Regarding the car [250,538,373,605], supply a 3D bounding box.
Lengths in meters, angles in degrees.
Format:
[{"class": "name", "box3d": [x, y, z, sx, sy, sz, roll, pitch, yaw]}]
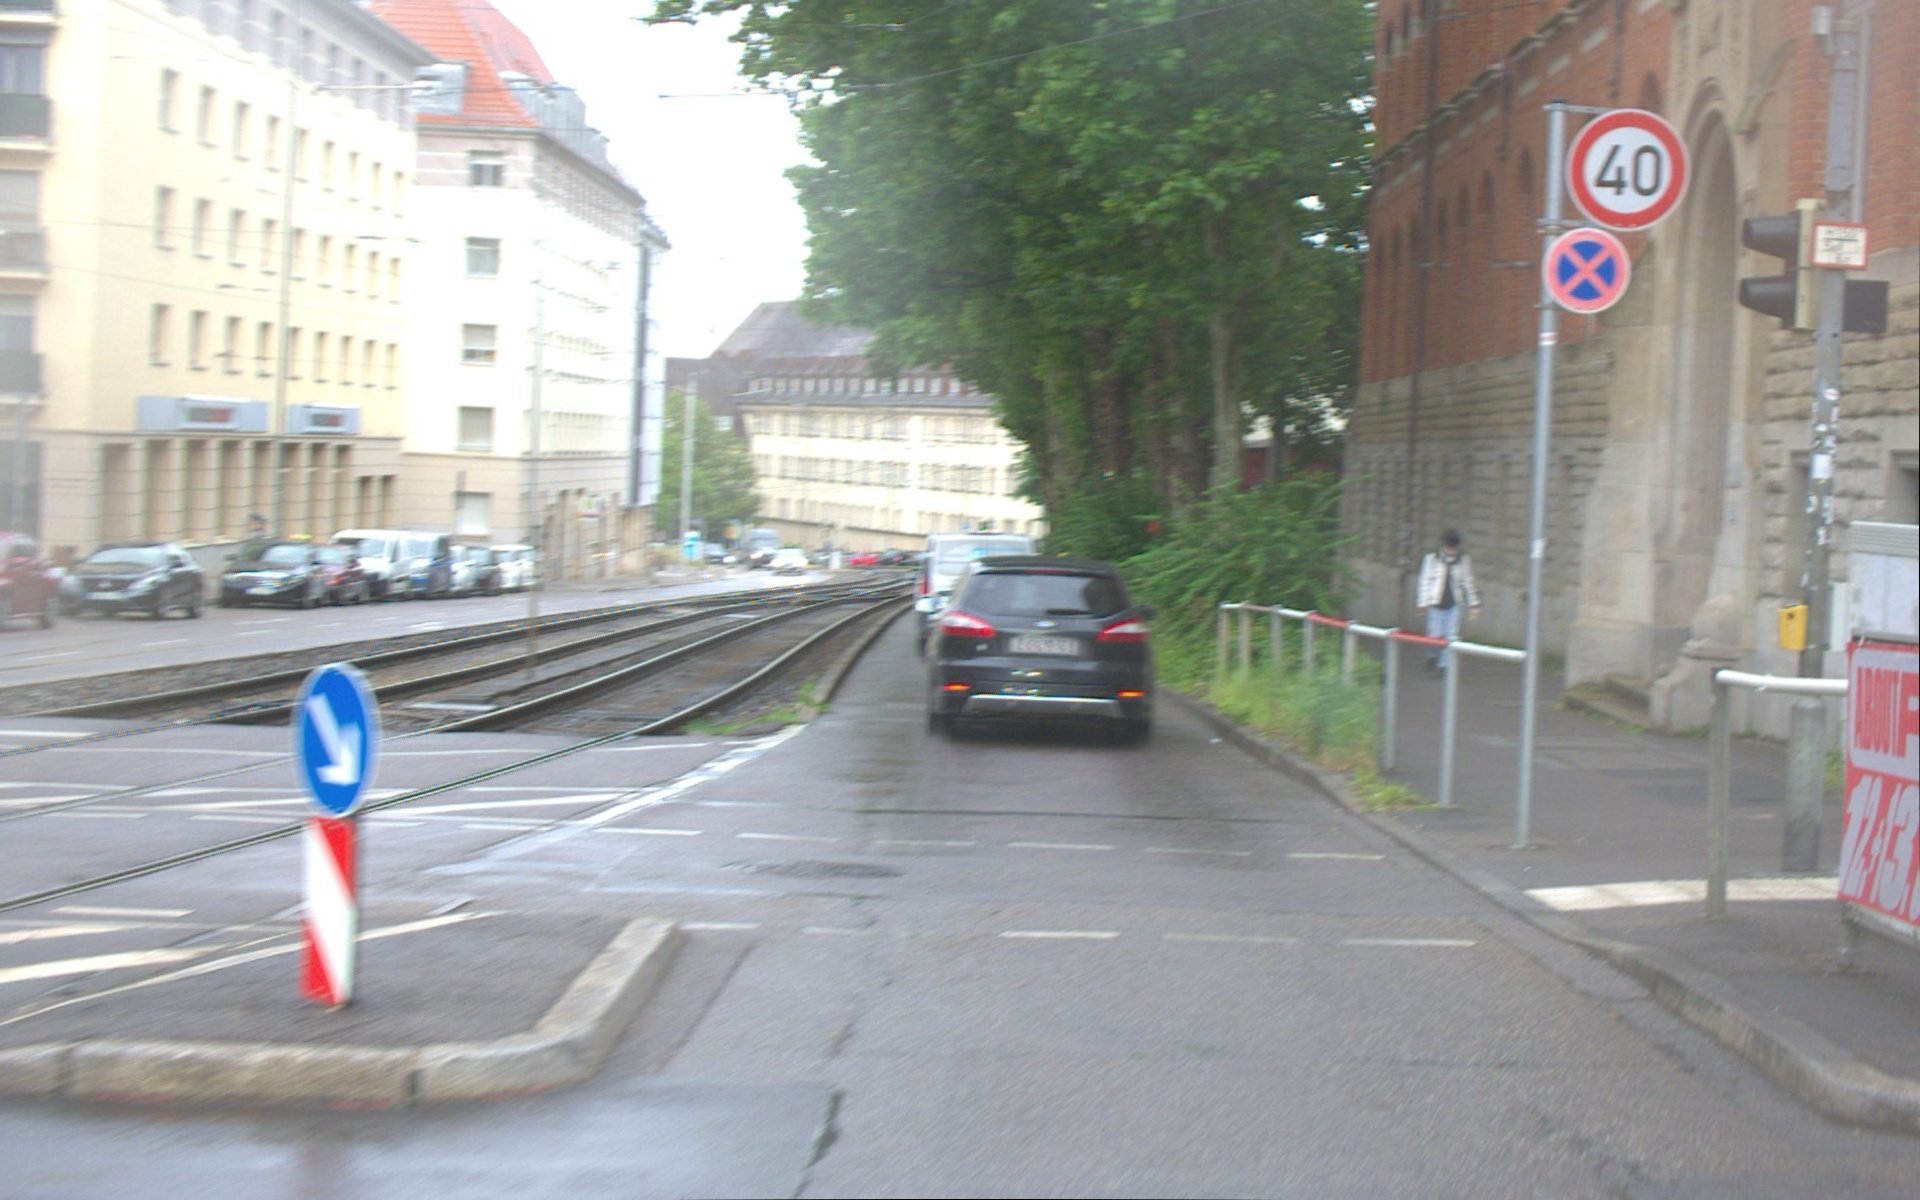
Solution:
[{"class": "car", "box3d": [-15.145, -0.672, 80.493, 1.851, 1.427, 4.832, 3, 1, 1]}]

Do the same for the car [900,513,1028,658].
[{"class": "car", "box3d": [0.023, -0.227, 51.178, 1.740, 2.007, 3.904, 2, 0, -1]}]

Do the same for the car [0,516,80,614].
[{"class": "car", "box3d": [-14.829, -0.553, 52.061, 1.653, 1.446, 4.073, 2, 1, 4]}]

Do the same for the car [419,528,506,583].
[{"class": "car", "box3d": [-14.699, -1.319, 101.750, 1.813, 1.494, 4.582, 3, 1, 0]}]

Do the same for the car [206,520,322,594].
[{"class": "car", "box3d": [-15.061, -0.933, 74.641, 1.851, 1.503, 4.993, 2, 1, -5]}]

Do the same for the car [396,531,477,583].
[{"class": "car", "box3d": [-14.737, -1.216, 96.932, 1.691, 1.434, 4.049, 1, 1, 0]}]

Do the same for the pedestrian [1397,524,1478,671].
[{"class": "pedestrian", "box3d": [5.576, -0.028, 40.190, 0.823, 1.673, 0.860, 2, 0, 3]}]

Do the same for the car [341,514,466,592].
[{"class": "car", "box3d": [-14.842, -1.259, 91.958, 1.994, 1.898, 5.459, 4, 1, 4]}]

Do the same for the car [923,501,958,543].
[{"class": "car", "box3d": [-1.214, -4.891, 216.803, 1.993, 2.443, 5.998, 2, 0, 1]}]

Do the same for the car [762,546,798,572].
[{"class": "car", "box3d": [-10.233, -2.354, 196.091, 1.712, 1.457, 4.280, 1, 1, 1]}]

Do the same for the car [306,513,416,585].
[{"class": "car", "box3d": [-14.962, -1.262, 86.073, 1.867, 1.711, 4.460, 2, 0, 1]}]

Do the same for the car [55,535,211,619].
[{"class": "car", "box3d": [-14.687, -0.421, 61.257, 1.679, 1.391, 4.623, 2, 1, -1]}]

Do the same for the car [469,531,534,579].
[{"class": "car", "box3d": [-14.716, -1.453, 110.479, 1.703, 1.392, 3.936, 3, 1, -3]}]

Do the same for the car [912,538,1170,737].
[{"class": "car", "box3d": [0.597, 0.272, 28.825, 1.933, 1.448, 4.318, 3, 0, -1]}]
